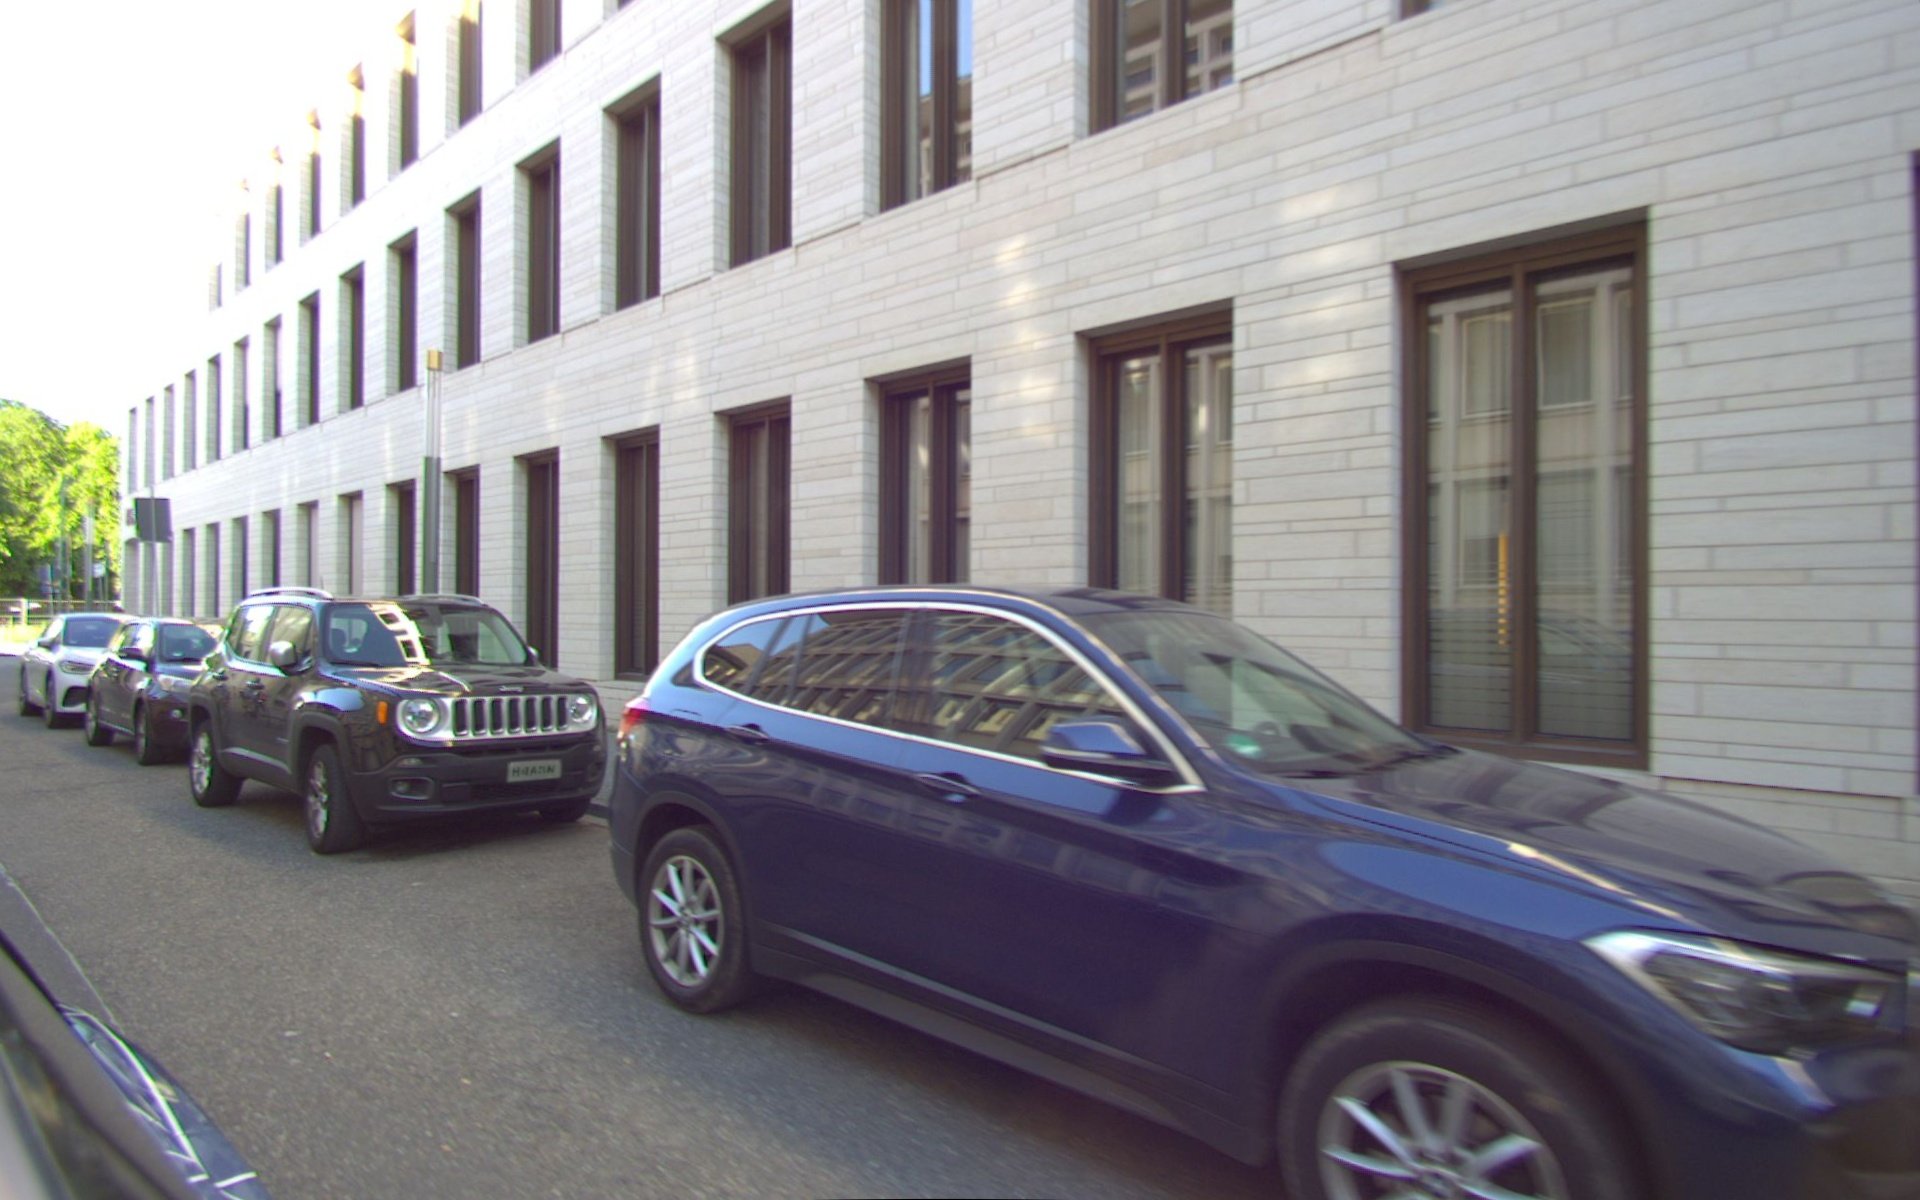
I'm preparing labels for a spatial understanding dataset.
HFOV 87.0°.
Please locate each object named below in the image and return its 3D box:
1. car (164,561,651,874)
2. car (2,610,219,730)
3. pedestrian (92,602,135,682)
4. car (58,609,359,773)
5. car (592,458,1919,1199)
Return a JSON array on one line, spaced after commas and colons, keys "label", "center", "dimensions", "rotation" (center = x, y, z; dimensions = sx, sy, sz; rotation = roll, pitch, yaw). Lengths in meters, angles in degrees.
[{"label": "car", "center": [-4.284, 0.729, 7.607], "dimensions": [4.014, 1.728, 1.804], "rotation": [-1, -4, 40]}, {"label": "car", "center": [-12.881, 0.978, 15.243], "dimensions": [4.444, 1.553, 1.803], "rotation": [-2, -3, 41]}, {"label": "pedestrian", "center": [-19.398, 0.943, 23.193], "dimensions": [0.816, 1.803, 0.637], "rotation": [0, 0, 41]}, {"label": "car", "center": [-8.786, 0.919, 11.707], "dimensions": [4.259, 1.553, 1.804], "rotation": [-1, -2, 39]}, {"label": "car", "center": [0.651, 0.668, 3.350], "dimensions": [4.152, 1.607, 1.721], "rotation": [-2, -4, 42]}]
